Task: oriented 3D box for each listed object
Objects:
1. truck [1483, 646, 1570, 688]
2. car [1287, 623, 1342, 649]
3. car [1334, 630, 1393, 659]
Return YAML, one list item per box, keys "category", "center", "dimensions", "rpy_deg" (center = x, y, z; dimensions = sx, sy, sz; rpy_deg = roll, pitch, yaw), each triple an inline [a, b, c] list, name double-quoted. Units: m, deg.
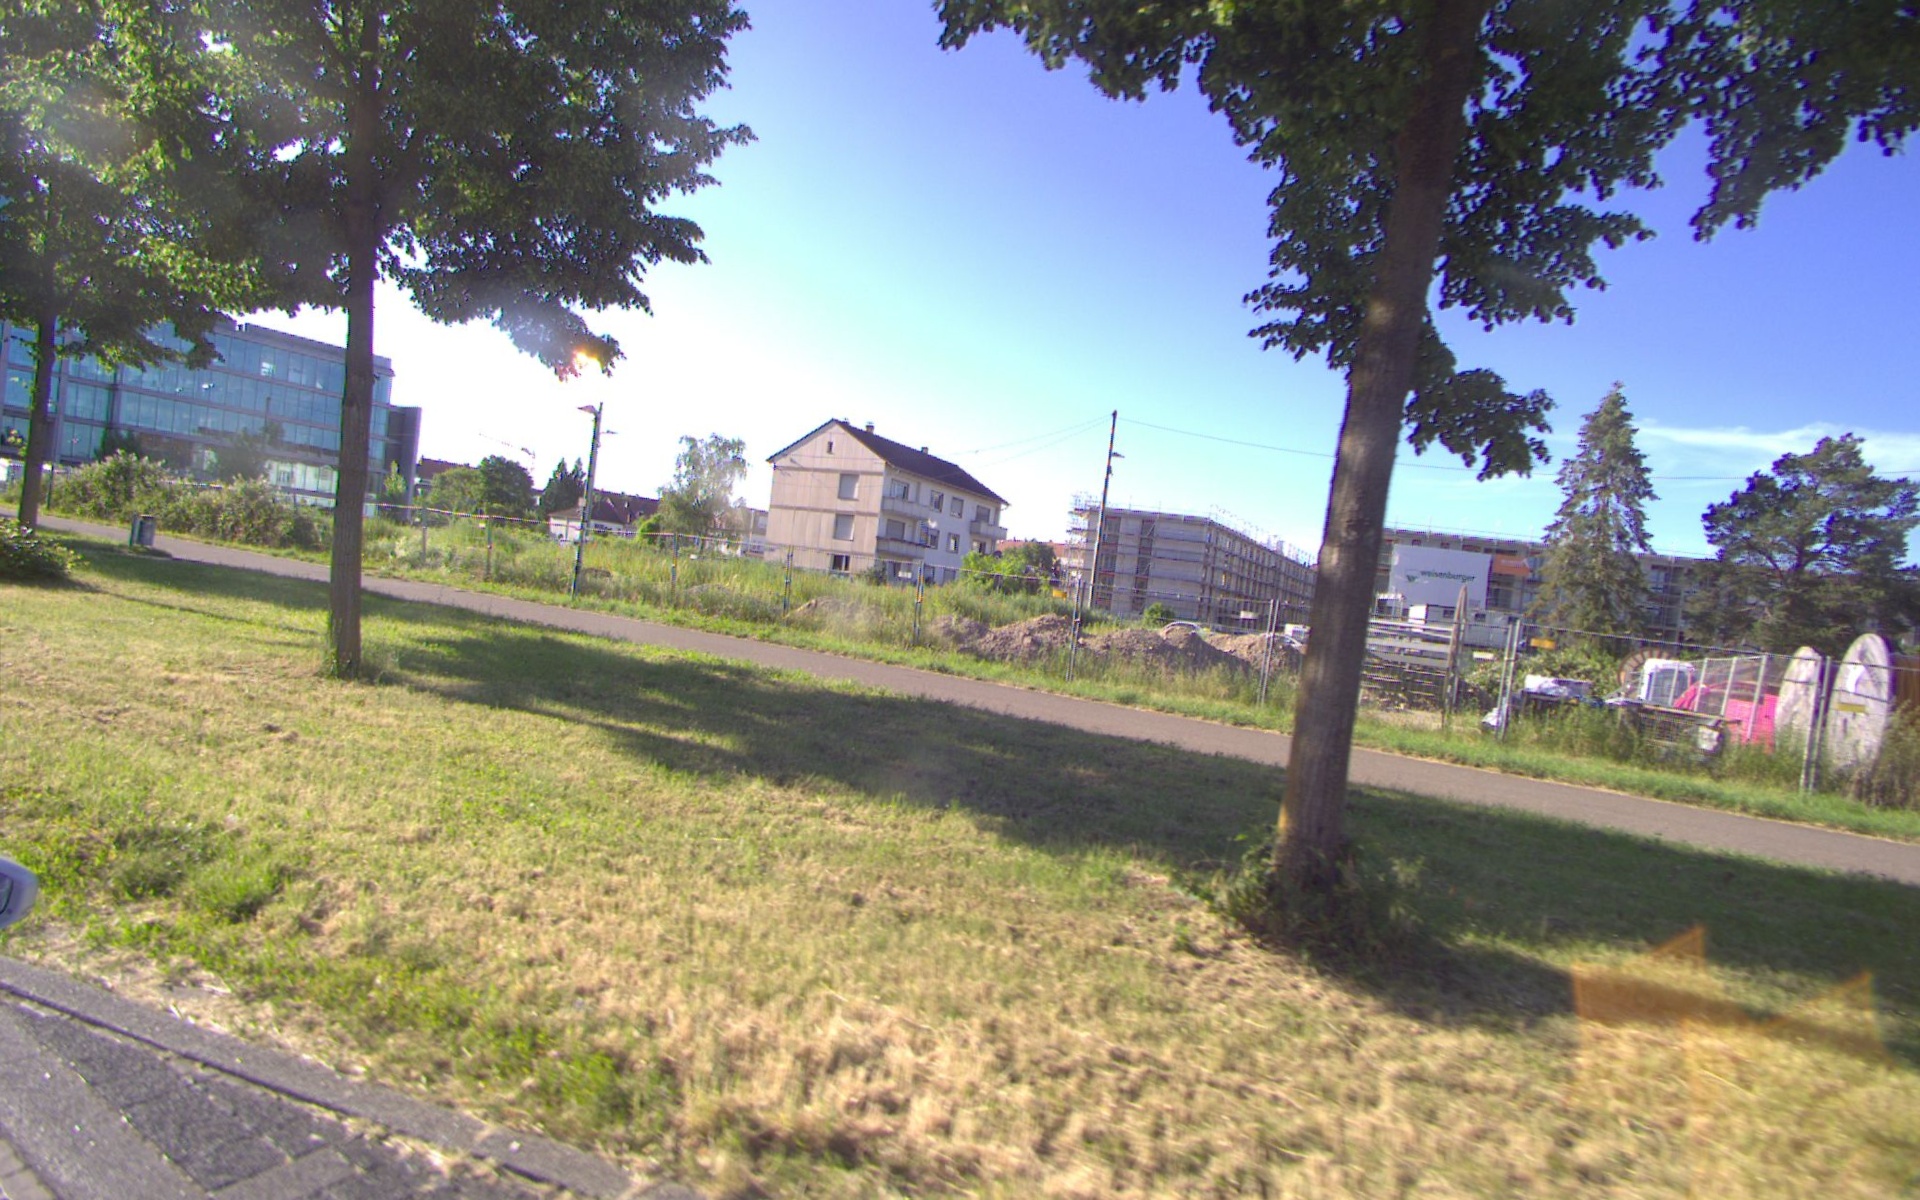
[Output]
- category: "truck"
  center: [35.843, 4.215, 63.755]
  dimensions: [4.351, 2.039, 1.999]
  rpy_deg: [7, 1, 21]
- category: "car"
  center: [28.784, 2.929, 81.730]
  dimensions: [3.924, 1.638, 1.833]
  rpy_deg: [6, 0, 15]
- category: "car"
  center: [28.354, 3.112, 70.722]
  dimensions: [3.588, 1.638, 1.623]
  rpy_deg: [6, 0, 26]
